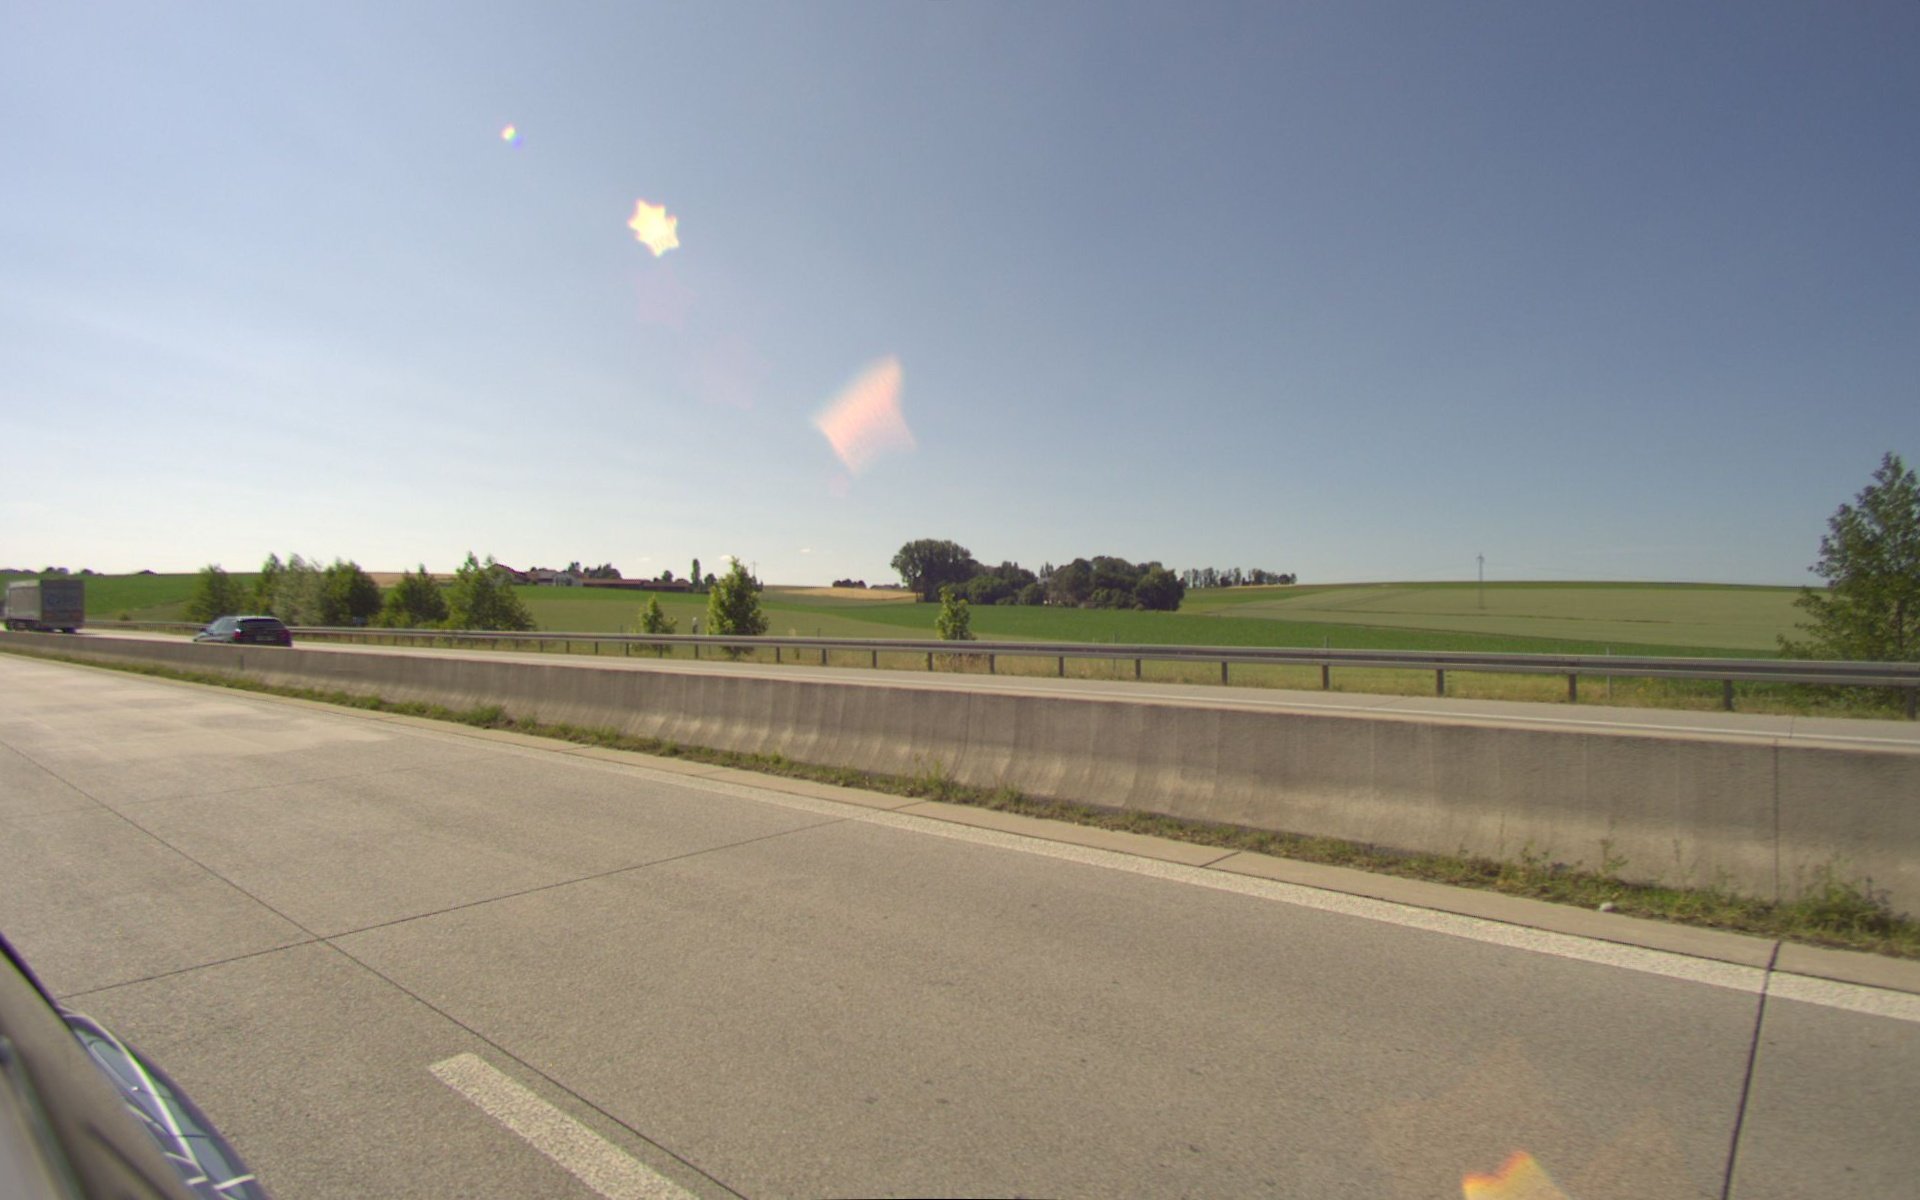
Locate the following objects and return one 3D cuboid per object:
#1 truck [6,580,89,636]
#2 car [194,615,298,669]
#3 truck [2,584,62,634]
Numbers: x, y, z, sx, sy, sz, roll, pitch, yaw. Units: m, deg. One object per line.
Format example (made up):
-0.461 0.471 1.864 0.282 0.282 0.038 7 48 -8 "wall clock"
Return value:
-71.236 0.644 78.855 13.856 4.038 2.831 -1 -1 40 "truck"
-23.776 1.342 33.650 4.623 1.601 1.693 0 0 40 "car"
-76.067 0.749 82.951 5.978 3.903 2.832 -1 -1 40 "truck"
